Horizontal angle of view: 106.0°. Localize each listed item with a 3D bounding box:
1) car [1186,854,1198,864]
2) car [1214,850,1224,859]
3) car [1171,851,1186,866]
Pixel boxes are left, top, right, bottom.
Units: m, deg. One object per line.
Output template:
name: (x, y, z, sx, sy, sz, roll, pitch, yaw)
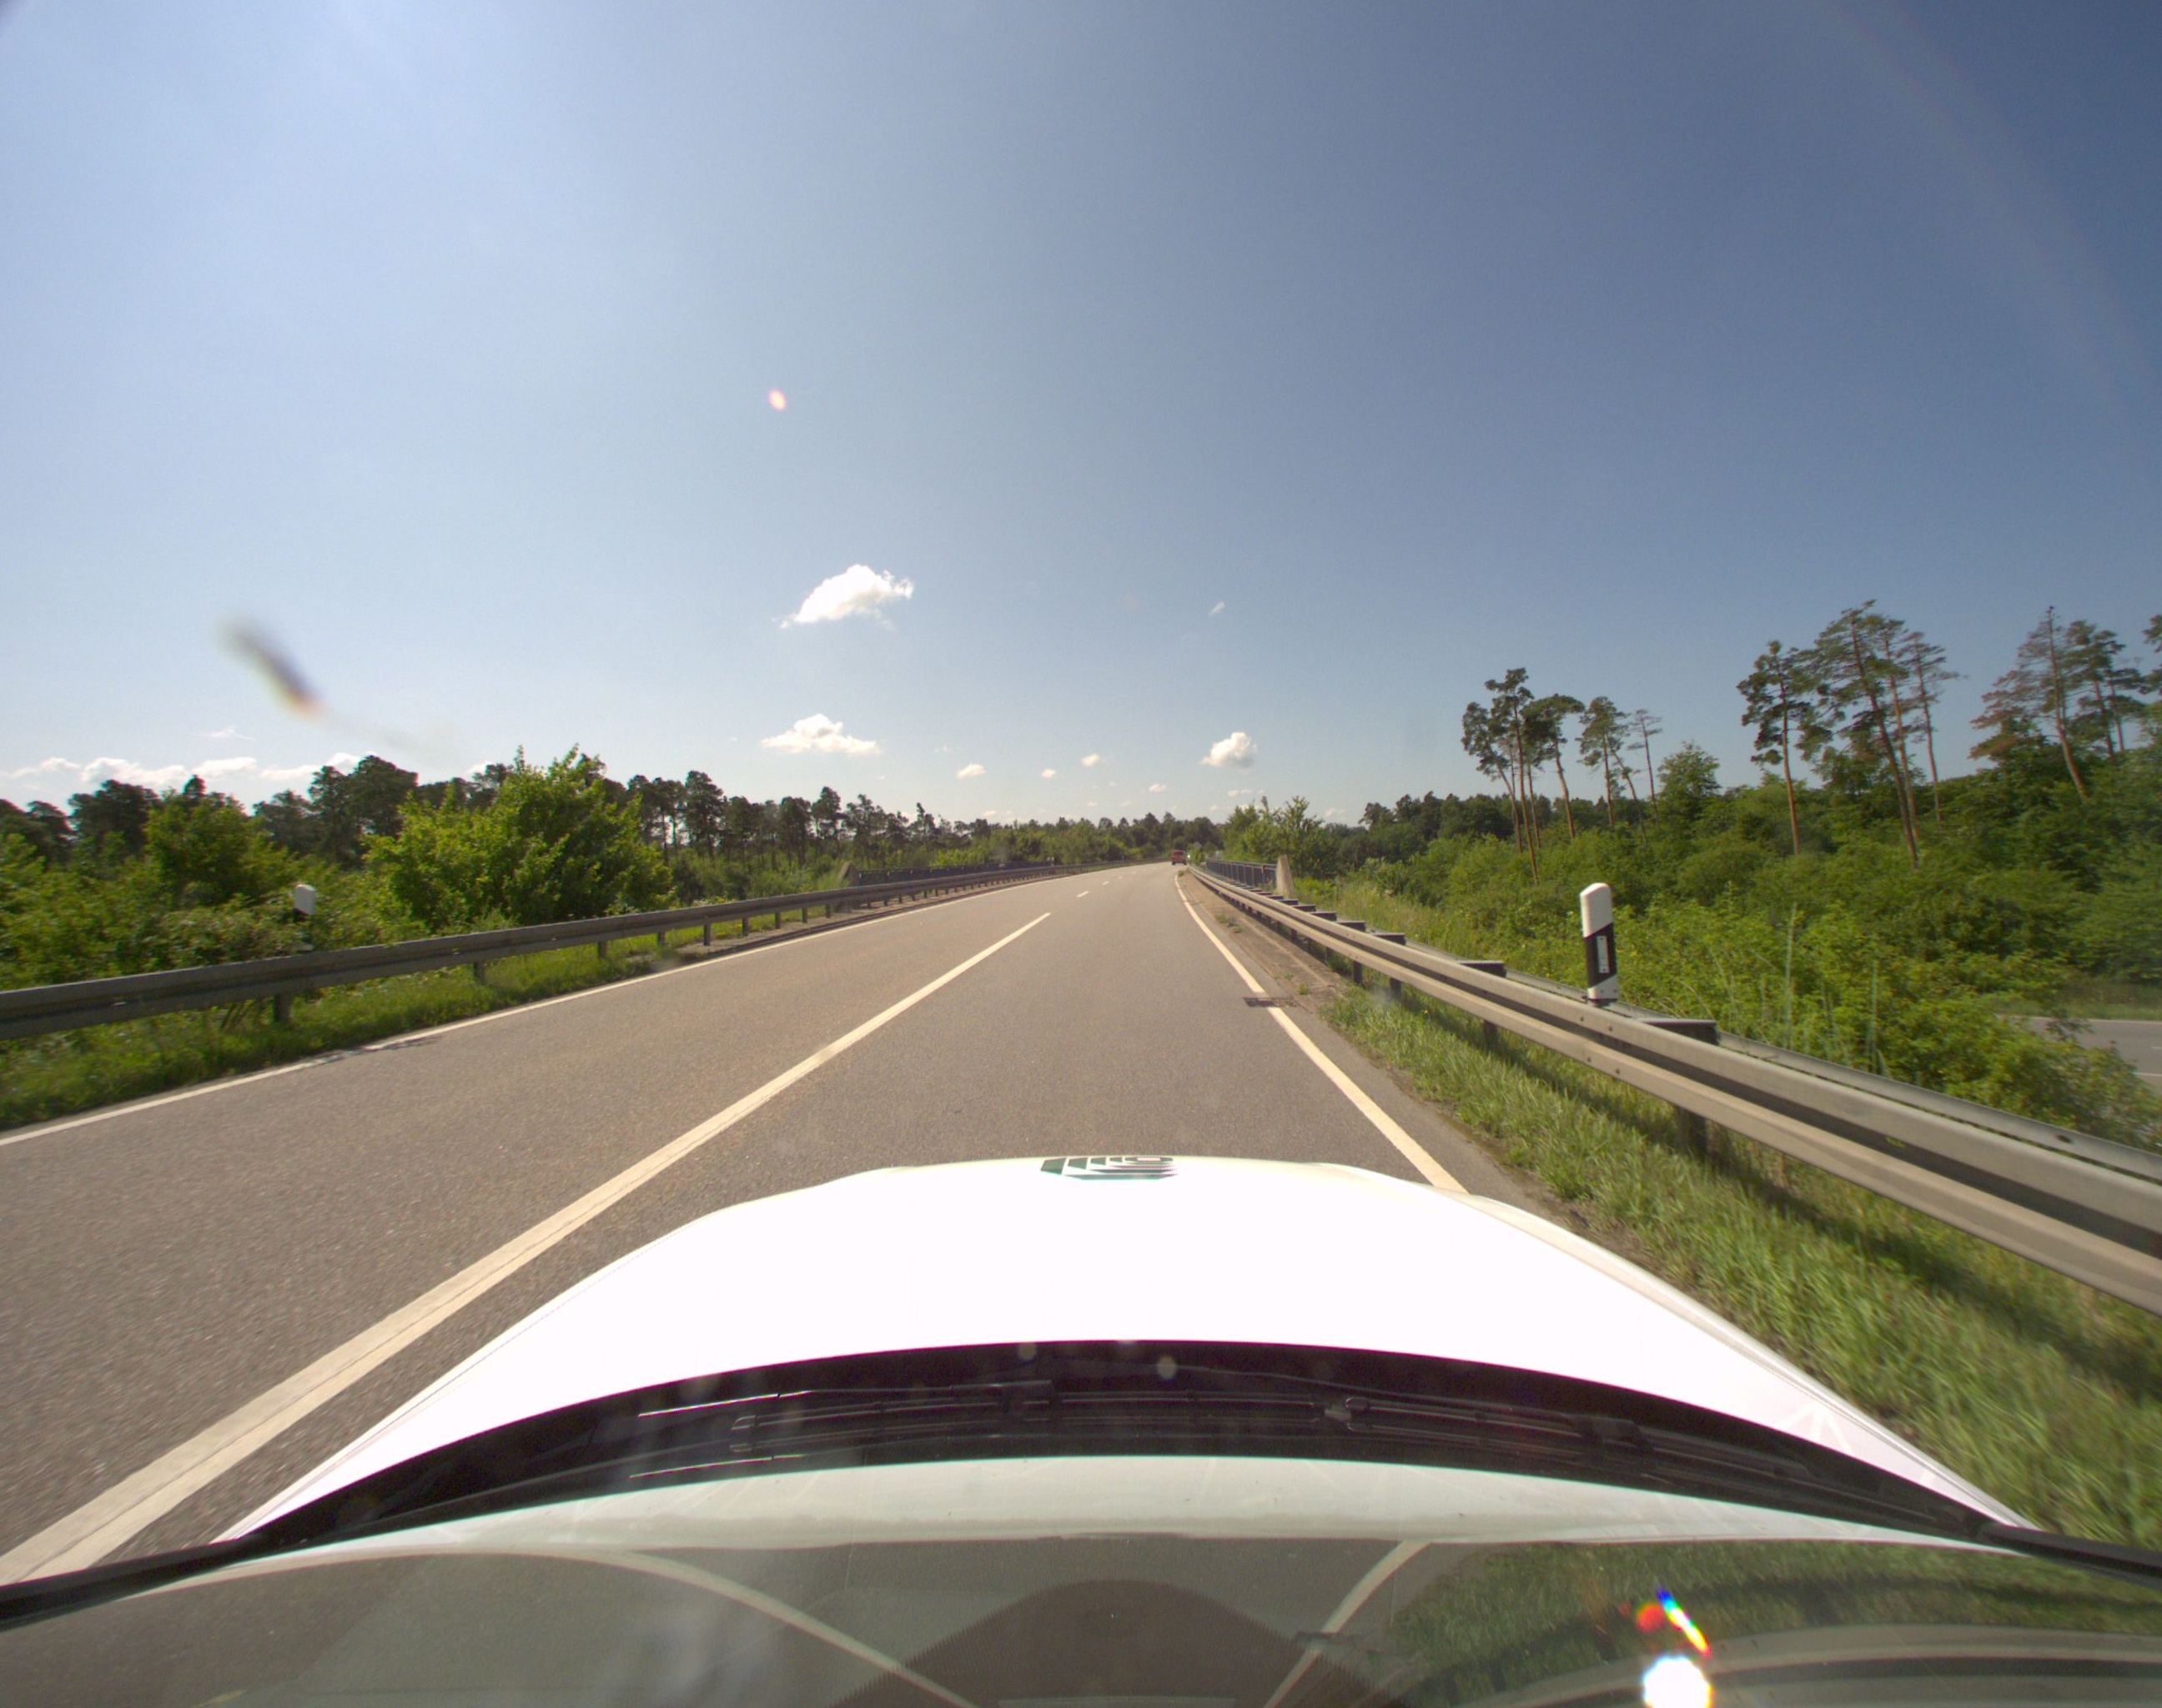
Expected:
car: (18.496, 0.842, 135.555, 1.997, 1.494, 4.246, 0, -1, 7)
car: (32.872, 0.141, 193.700, 2.171, 1.955, 5.819, 0, 0, 9)
car: (13.601, 0.639, 113.785, 2.066, 1.993, 5.121, 0, -1, 7)
